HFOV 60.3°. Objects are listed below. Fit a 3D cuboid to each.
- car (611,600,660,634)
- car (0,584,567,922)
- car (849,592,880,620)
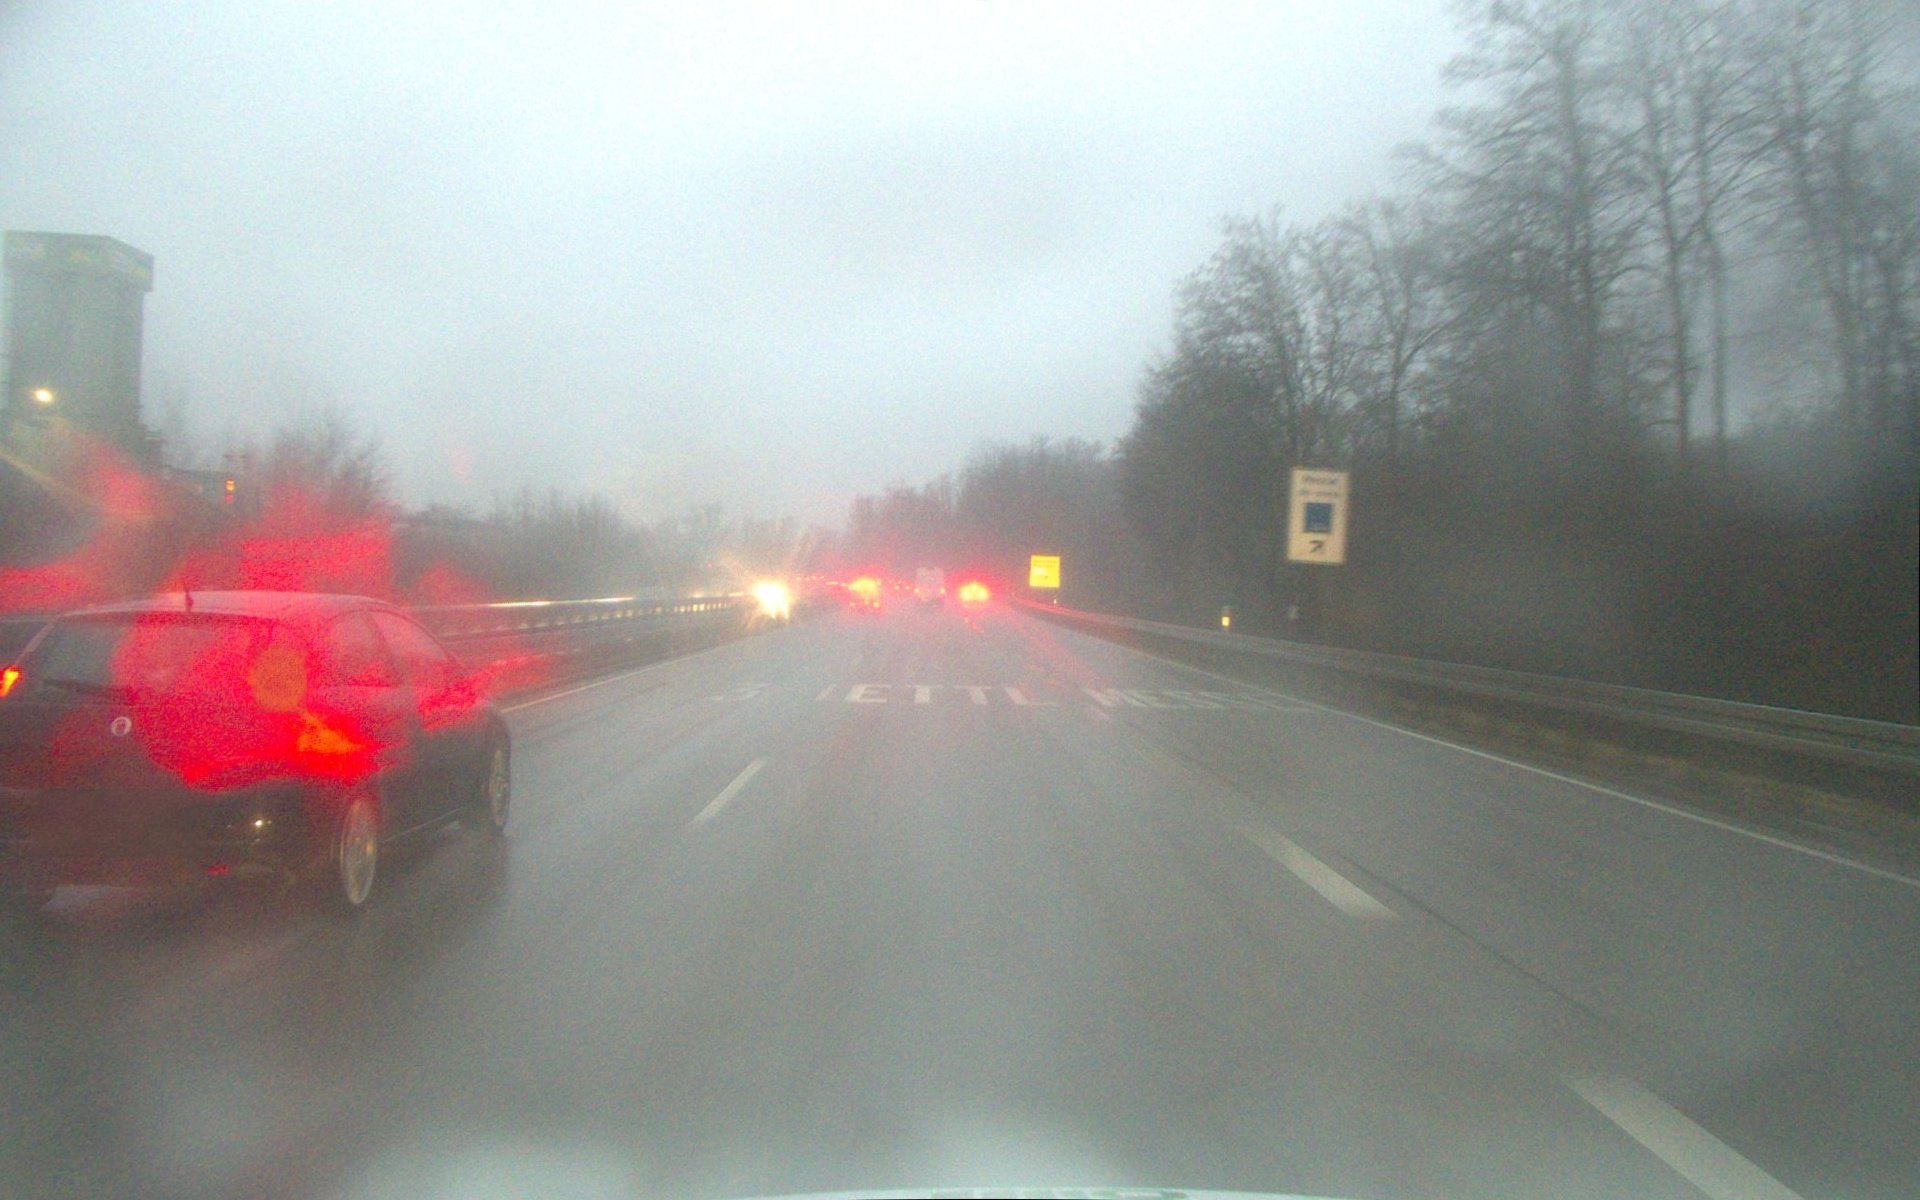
[{"bbox_3d":[-14.873,0.766,75.971,1.582,1.489,3.644,1,0,-1],"label":"car"},{"bbox_3d":[-3.431,0.675,9.199,1.593,1.416,3.998,2,0,-2],"label":"car"},{"bbox_3d":[-4.903,0.309,85.341,1.387,1.340,3.082,2,0,-1],"label":"car"}]
